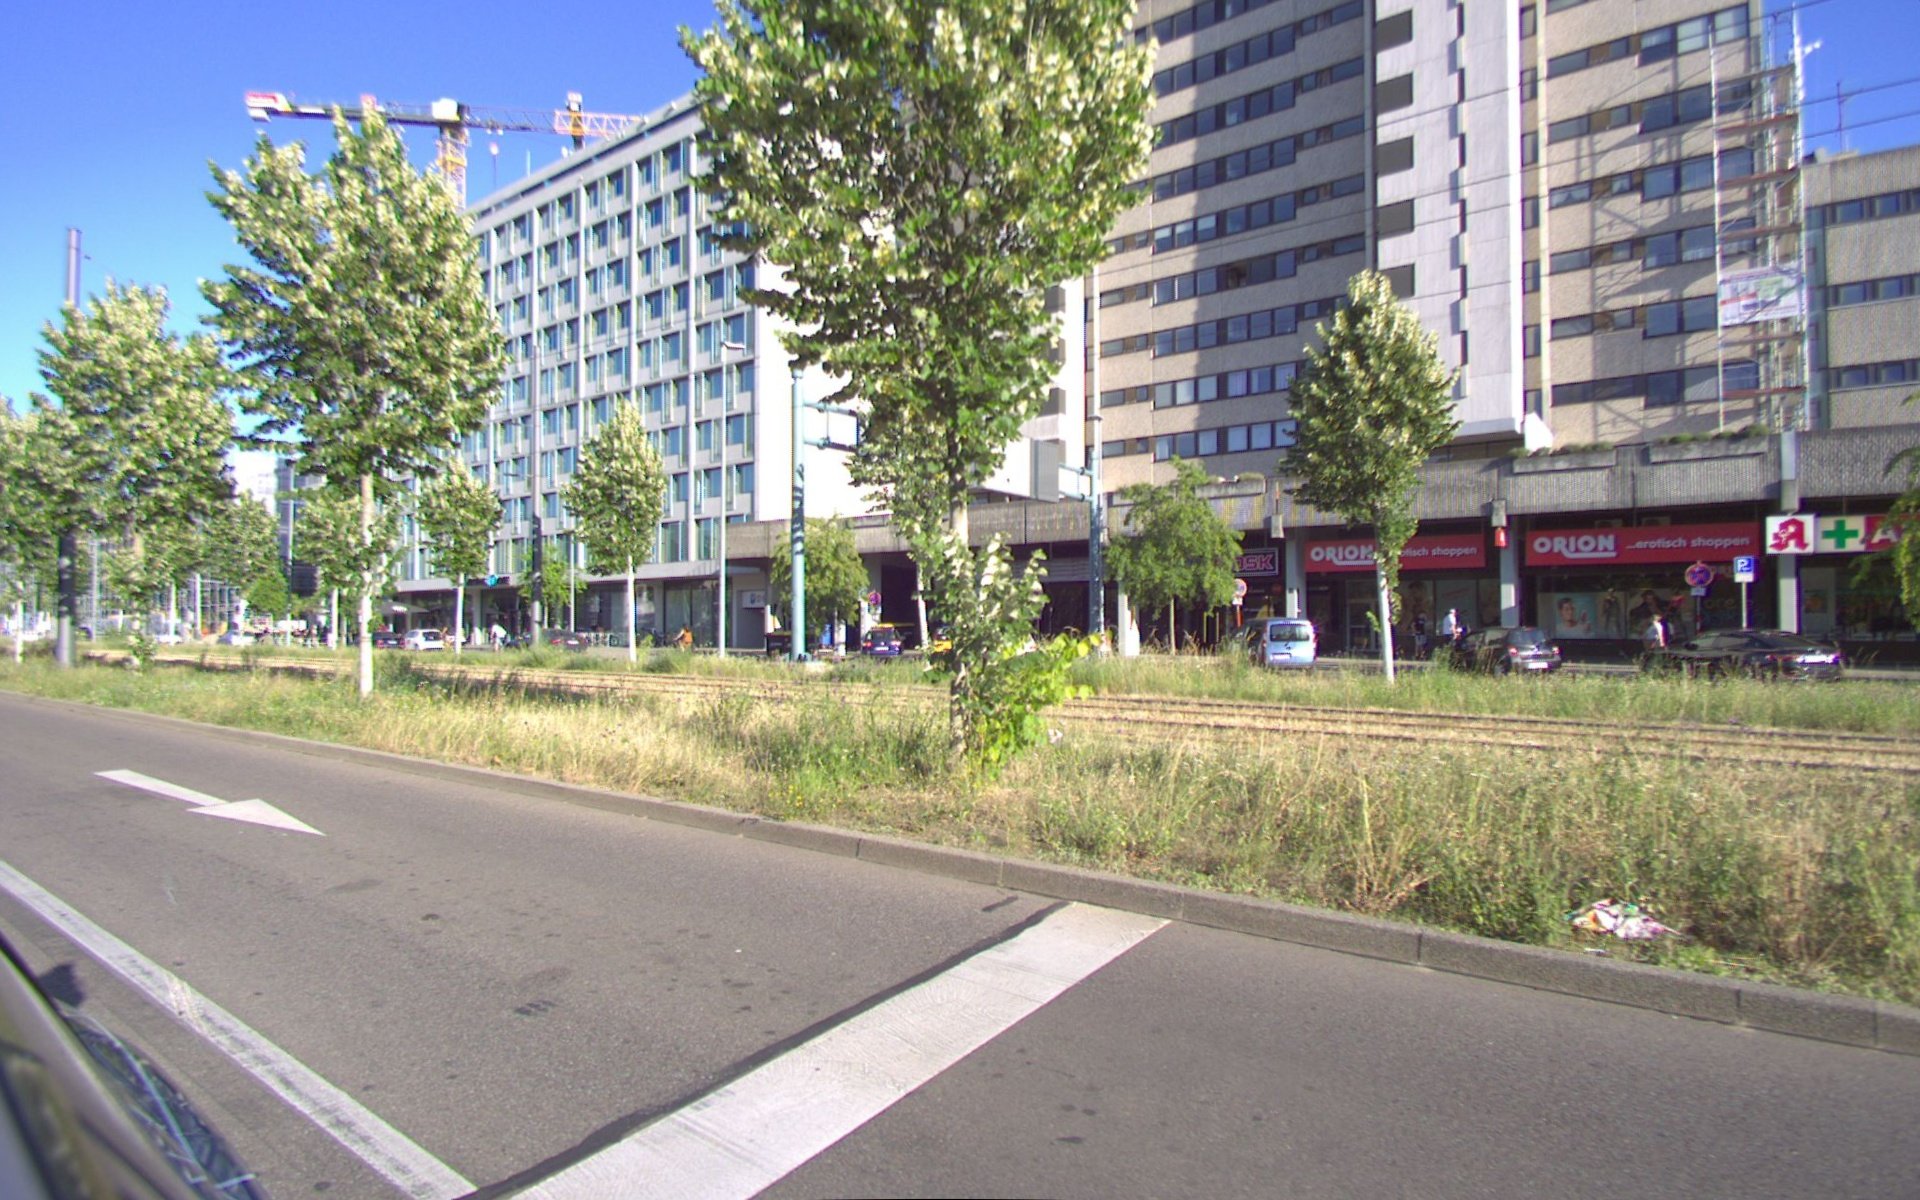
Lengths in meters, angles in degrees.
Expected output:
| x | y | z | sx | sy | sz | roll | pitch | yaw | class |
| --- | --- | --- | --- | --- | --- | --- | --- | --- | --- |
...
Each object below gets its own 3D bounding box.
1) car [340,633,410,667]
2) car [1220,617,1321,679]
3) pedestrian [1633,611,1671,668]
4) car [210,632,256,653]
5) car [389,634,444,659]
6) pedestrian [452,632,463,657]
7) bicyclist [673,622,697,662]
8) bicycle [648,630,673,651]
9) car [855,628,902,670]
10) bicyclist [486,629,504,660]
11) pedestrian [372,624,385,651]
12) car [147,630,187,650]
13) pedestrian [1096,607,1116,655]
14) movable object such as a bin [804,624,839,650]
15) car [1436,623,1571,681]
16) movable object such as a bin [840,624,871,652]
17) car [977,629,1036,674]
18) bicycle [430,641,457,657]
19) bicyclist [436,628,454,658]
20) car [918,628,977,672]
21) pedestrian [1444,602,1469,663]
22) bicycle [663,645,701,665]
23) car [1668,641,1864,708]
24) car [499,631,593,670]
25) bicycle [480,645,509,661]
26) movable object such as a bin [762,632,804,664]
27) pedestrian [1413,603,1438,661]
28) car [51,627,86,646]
| x | y | z | sx | sy | sz | roll | pitch | yaw | class |
| --- | --- | --- | --- | --- | --- | --- | --- | --- | --- |
| -32.981 | 2.776 | 56.995 | 4.481 | 1.715 | 1.852 | -1 | 0 | 37 | car |
| 9.730 | 1.449 | 32.053 | 1.597 | 1.703 | 4.200 | -1 | 0 | -4 | car |
| 20.594 | 1.158 | 30.101 | 0.881 | 1.652 | 0.767 | -1 | -2 | 36 | pedestrian |
| -51.640 | 3.007 | 71.854 | 3.873 | 1.388 | 1.594 | -1 | 0 | 37 | car |
| -34.870 | 2.943 | 64.908 | 3.384 | 1.477 | 1.852 | -1 | 0 | 37 | car |
| -34.114 | 3.030 | 68.680 | 0.596 | 1.648 | 0.473 | -2 | -2 | 37 | pedestrian |
| -12.387 | 1.896 | 45.572 | 0.917 | 1.758 | 0.552 | -2 | -2 | 35 | bicyclist |
| -18.267 | 2.461 | 61.740 | 1.712 | 1.239 | 0.391 | -1 | -2 | 28 | bicycle |
| -3.412 | 1.998 | 41.872 | 1.595 | 1.455 | 4.555 | -1 | 0 | -8 | car |
| -25.418 | 2.408 | 55.323 | 0.917 | 1.669 | 0.533 | -2 | -2 | 35 | bicyclist |
| -43.287 | 2.777 | 75.296 | 0.725 | 2.029 | 0.614 | -2 | -2 | 37 | pedestrian |
| -67.701 | 3.422 | 86.372 | 3.477 | 1.603 | 1.852 | -1 | 0 | 37 | car |
| 6.301 | 1.338 | 43.569 | 0.653 | 2.029 | 0.542 | -2 | -2 | 37 | pedestrian |
| -7.315 | 1.966 | 53.568 | 1.231 | 1.344 | 1.374 | -2 | -2 | 36 | movable object such as a bin |
| 15.239 | 1.405 | 28.572 | 1.596 | 1.412 | 3.472 | -1 | 0 | -7 | car |
| -5.262 | 1.894 | 50.910 | 1.088 | 1.382 | 1.108 | -2 | -2 | 36 | movable object such as a bin |
| 1.684 | 1.880 | 38.070 | 1.596 | 1.455 | 3.799 | -1 | 0 | -7 | car |
| -28.957 | 2.717 | 56.733 | 2.098 | 0.869 | 0.432 | -1 | -2 | 36 | bicycle |
| -28.851 | 2.393 | 56.668 | 0.917 | 1.669 | 0.533 | -2 | -2 | 35 | bicyclist |
| -0.539 | 1.906 | 39.579 | 1.761 | 1.455 | 3.809 | -1 | 0 | -8 | car |
| 16.851 | 1.105 | 34.359 | 0.653 | 2.029 | 0.542 | -2 | -2 | 37 | pedestrian |
| -12.538 | 2.454 | 45.598 | 2.098 | 0.869 | 0.432 | -1 | -2 | 36 | bicycle |
| 18.872 | 1.703 | 23.905 | 1.596 | 1.283 | 3.472 | -1 | 0 | -7 | car |
| -18.824 | 2.252 | 45.930 | 4.631 | 1.600 | 1.852 | -1 | 0 | 37 | car |
| -25.520 | 2.910 | 55.479 | 2.098 | 0.869 | 0.432 | -1 | -2 | 36 | bicycle |
| -7.730 | 2.074 | 44.175 | 1.169 | 1.382 | 1.374 | -2 | -2 | 36 | movable object such as a bin |
| 16.598 | 1.135 | 36.087 | 0.653 | 2.029 | 0.542 | -2 | -2 | 37 | pedestrian |
| -86.758 | 3.542 | 98.453 | 3.787 | 1.765 | 1.852 | -1 | 0 | 37 | car |
